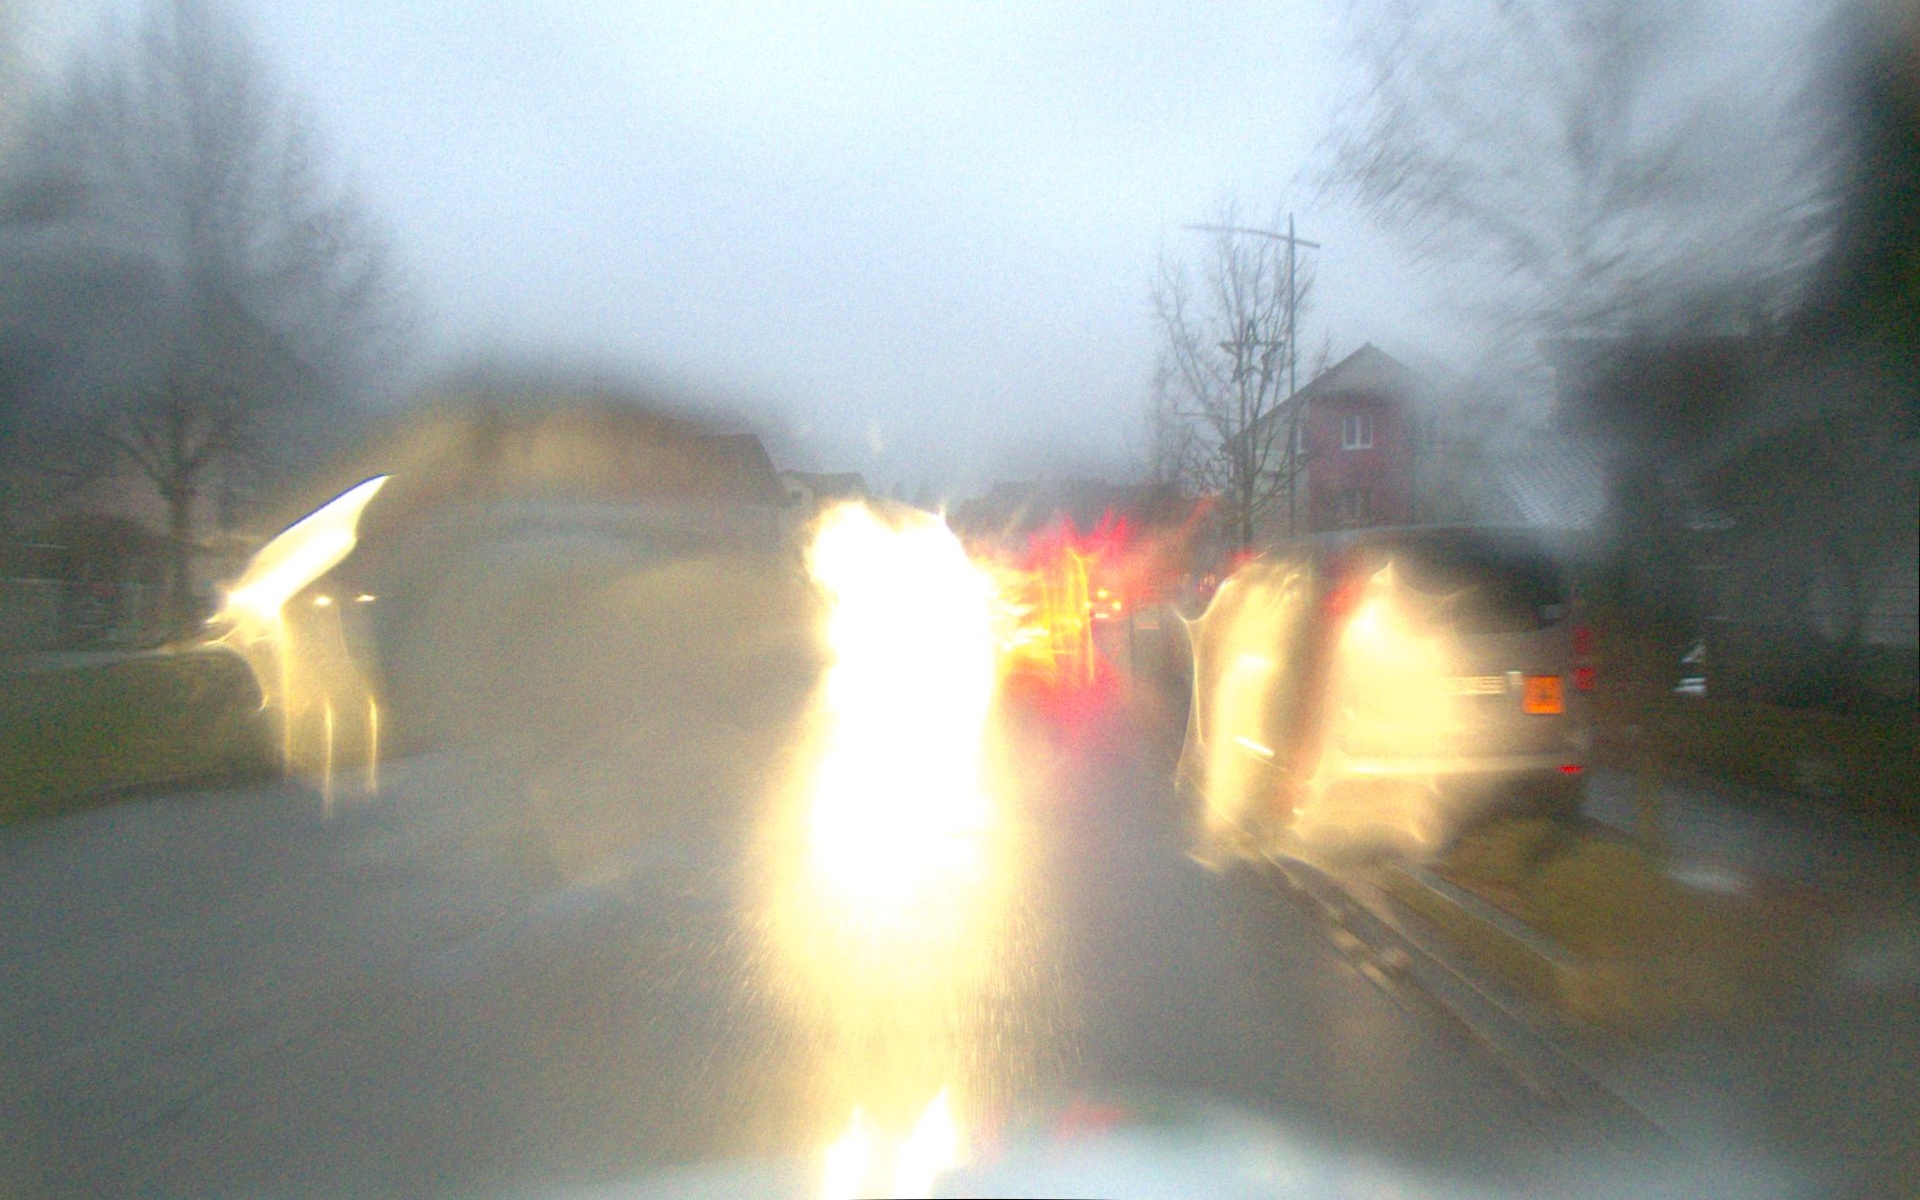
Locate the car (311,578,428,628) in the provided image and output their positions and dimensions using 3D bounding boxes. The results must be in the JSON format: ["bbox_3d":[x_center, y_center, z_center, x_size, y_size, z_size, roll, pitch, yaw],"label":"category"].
[{"bbox_3d":[-18.274,0.057,51.382,1.359,1.463,4.340,2,1,12],"label":"car"}]

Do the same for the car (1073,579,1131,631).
[{"bbox_3d":[5.911,0.213,68.427,1.951,2.049,4.003,1,0,11],"label":"car"}]

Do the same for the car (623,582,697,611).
[{"bbox_3d":[-14.588,-0.187,80.736,1.951,1.330,4.116,2,1,15],"label":"car"}]

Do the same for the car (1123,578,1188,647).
[{"bbox_3d":[5.655,0.327,47.505,1.708,1.816,4.340,-2,1,8],"label":"car"}]

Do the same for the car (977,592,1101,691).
[{"bbox_3d":[1.276,0.655,28.252,1.952,1.552,4.000,1,0,1],"label":"car"}]

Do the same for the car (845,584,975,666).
[{"bbox_3d":[-0.947,0.457,34.045,1.866,1.514,4.572,1,1,9],"label":"car"}]

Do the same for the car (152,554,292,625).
[{"bbox_3d":[-22.520,-0.332,50.648,1.877,2.048,4.004,2,1,12],"label":"car"}]

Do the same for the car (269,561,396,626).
[{"bbox_3d":[-20.975,-0.228,55.477,1.951,2.048,4.227,2,1,12],"label":"car"}]

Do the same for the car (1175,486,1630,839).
[{"bbox_3d":[3.024,0.338,12.782,1.937,2.048,5.745,-2,1,0],"label":"car"}]
